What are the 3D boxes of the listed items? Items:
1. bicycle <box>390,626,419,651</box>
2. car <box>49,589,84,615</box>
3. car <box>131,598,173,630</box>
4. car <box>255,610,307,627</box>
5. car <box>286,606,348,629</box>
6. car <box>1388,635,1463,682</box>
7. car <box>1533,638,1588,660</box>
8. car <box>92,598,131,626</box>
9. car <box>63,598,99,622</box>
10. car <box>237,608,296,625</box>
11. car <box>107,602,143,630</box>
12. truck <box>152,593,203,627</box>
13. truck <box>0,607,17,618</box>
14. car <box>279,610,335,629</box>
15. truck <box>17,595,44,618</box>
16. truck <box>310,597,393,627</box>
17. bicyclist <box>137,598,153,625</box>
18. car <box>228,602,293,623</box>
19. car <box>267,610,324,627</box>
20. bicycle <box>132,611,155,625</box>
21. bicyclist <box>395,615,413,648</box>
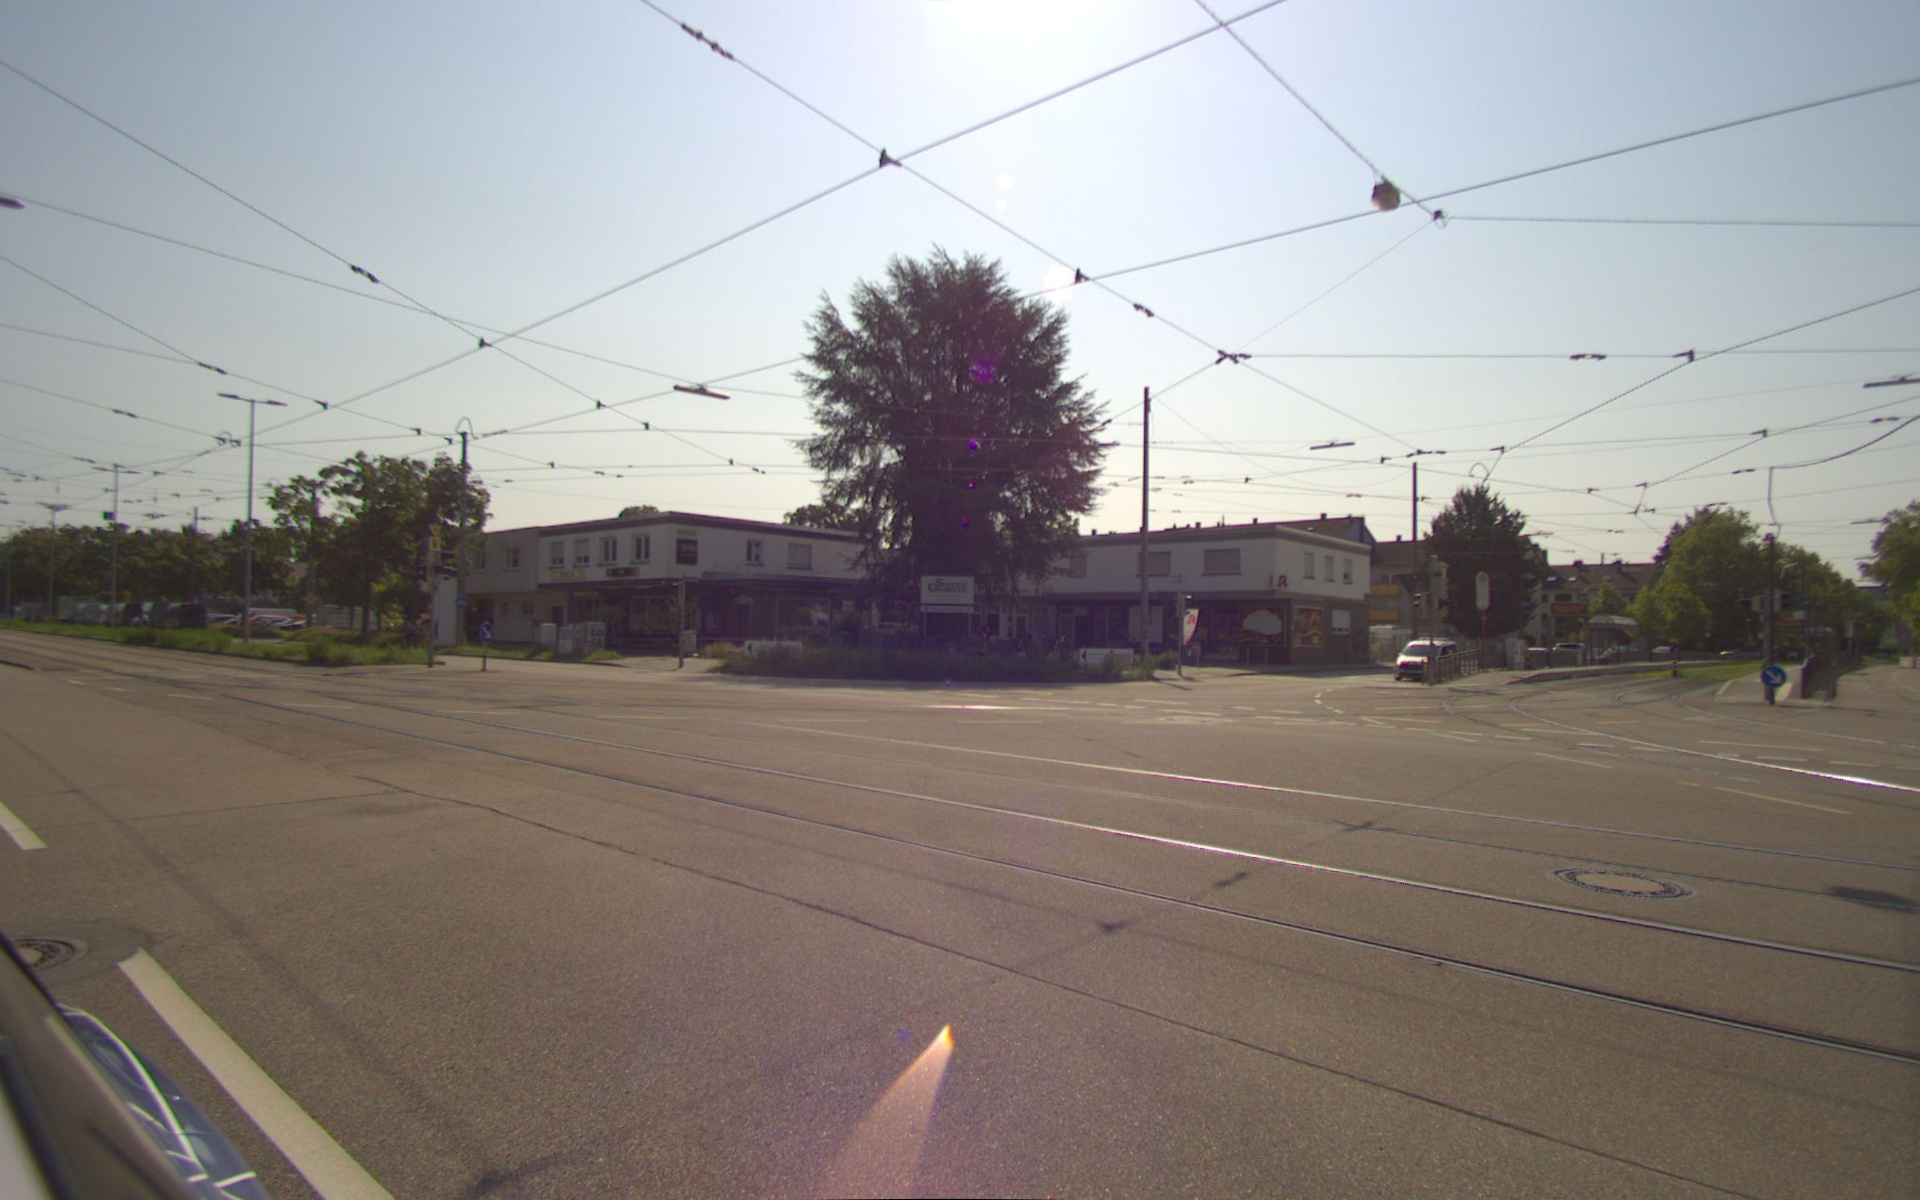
[{"bbox_3d":[-26.881,1.876,48.954,2.208,1.189,0.568,-3,-6,44],"label":"bicycle"},{"bbox_3d":[-103.228,0.260,116.912,7.230,2.826,2.101,0,-4,42],"label":"car"},{"bbox_3d":[-69.766,1.196,87.390,6.468,2.606,1.966,0,-1,44],"label":"car"},{"bbox_3d":[-66.741,1.856,99.518,1.632,1.461,3.883,0,-4,40],"label":"car"},{"bbox_3d":[-57.425,1.592,90.413,1.632,1.798,4.353,0,-4,40],"label":"car"},{"bbox_3d":[20.228,2.497,43.931,1.823,1.901,3.969,-1,-2,43],"label":"car"},{"bbox_3d":[54.261,4.418,91.421,3.998,1.785,1.972,0,-4,41],"label":"car"},{"bbox_3d":[-85.098,1.202,101.493,5.630,2.606,2.109,0,-4,42],"label":"car"},{"bbox_3d":[-96.032,1.129,110.537,4.829,2.477,2.120,0,-4,41],"label":"car"},{"bbox_3d":[-70.638,1.707,103.102,1.632,1.461,4.605,0,-4,40],"label":"car"},{"bbox_3d":[-78.953,1.518,95.682,5.910,2.606,1.802,-1,-2,43],"label":"car"},{"bbox_3d":[-62.560,0.777,80.881,5.737,2.567,2.059,0,-4,41],"label":"truck"},{"bbox_3d":[-157.266,2.088,167.327,3.655,1.687,1.669,0,-4,42],"label":"truck"},{"bbox_3d":[-59.395,1.809,92.098,1.632,1.530,3.883,0,-4,40],"label":"car"},{"bbox_3d":[-134.741,0.956,146.738,8.790,3.145,2.247,0,-4,45],"label":"truck"},{"bbox_3d":[-51.407,1.046,85.577,2.258,2.189,5.433,0,-4,40],"label":"truck"},{"bbox_3d":[-64.892,0.927,80.586,0.772,2.080,0.632,0,-4,33],"label":"bicyclist"},{"bbox_3d":[-72.724,1.307,105.332,2.051,1.940,5.131,0,-4,40],"label":"car"},{"bbox_3d":[-62.516,1.759,95.217,1.621,1.474,4.119,0,-3,36],"label":"car"},{"bbox_3d":[-65.078,1.425,80.671,2.258,1.099,0.709,1,-3,33],"label":"bicycle"},{"bbox_3d":[-26.916,1.523,49.011,0.490,1.534,0.562,0,-4,43],"label":"bicyclist"}]
